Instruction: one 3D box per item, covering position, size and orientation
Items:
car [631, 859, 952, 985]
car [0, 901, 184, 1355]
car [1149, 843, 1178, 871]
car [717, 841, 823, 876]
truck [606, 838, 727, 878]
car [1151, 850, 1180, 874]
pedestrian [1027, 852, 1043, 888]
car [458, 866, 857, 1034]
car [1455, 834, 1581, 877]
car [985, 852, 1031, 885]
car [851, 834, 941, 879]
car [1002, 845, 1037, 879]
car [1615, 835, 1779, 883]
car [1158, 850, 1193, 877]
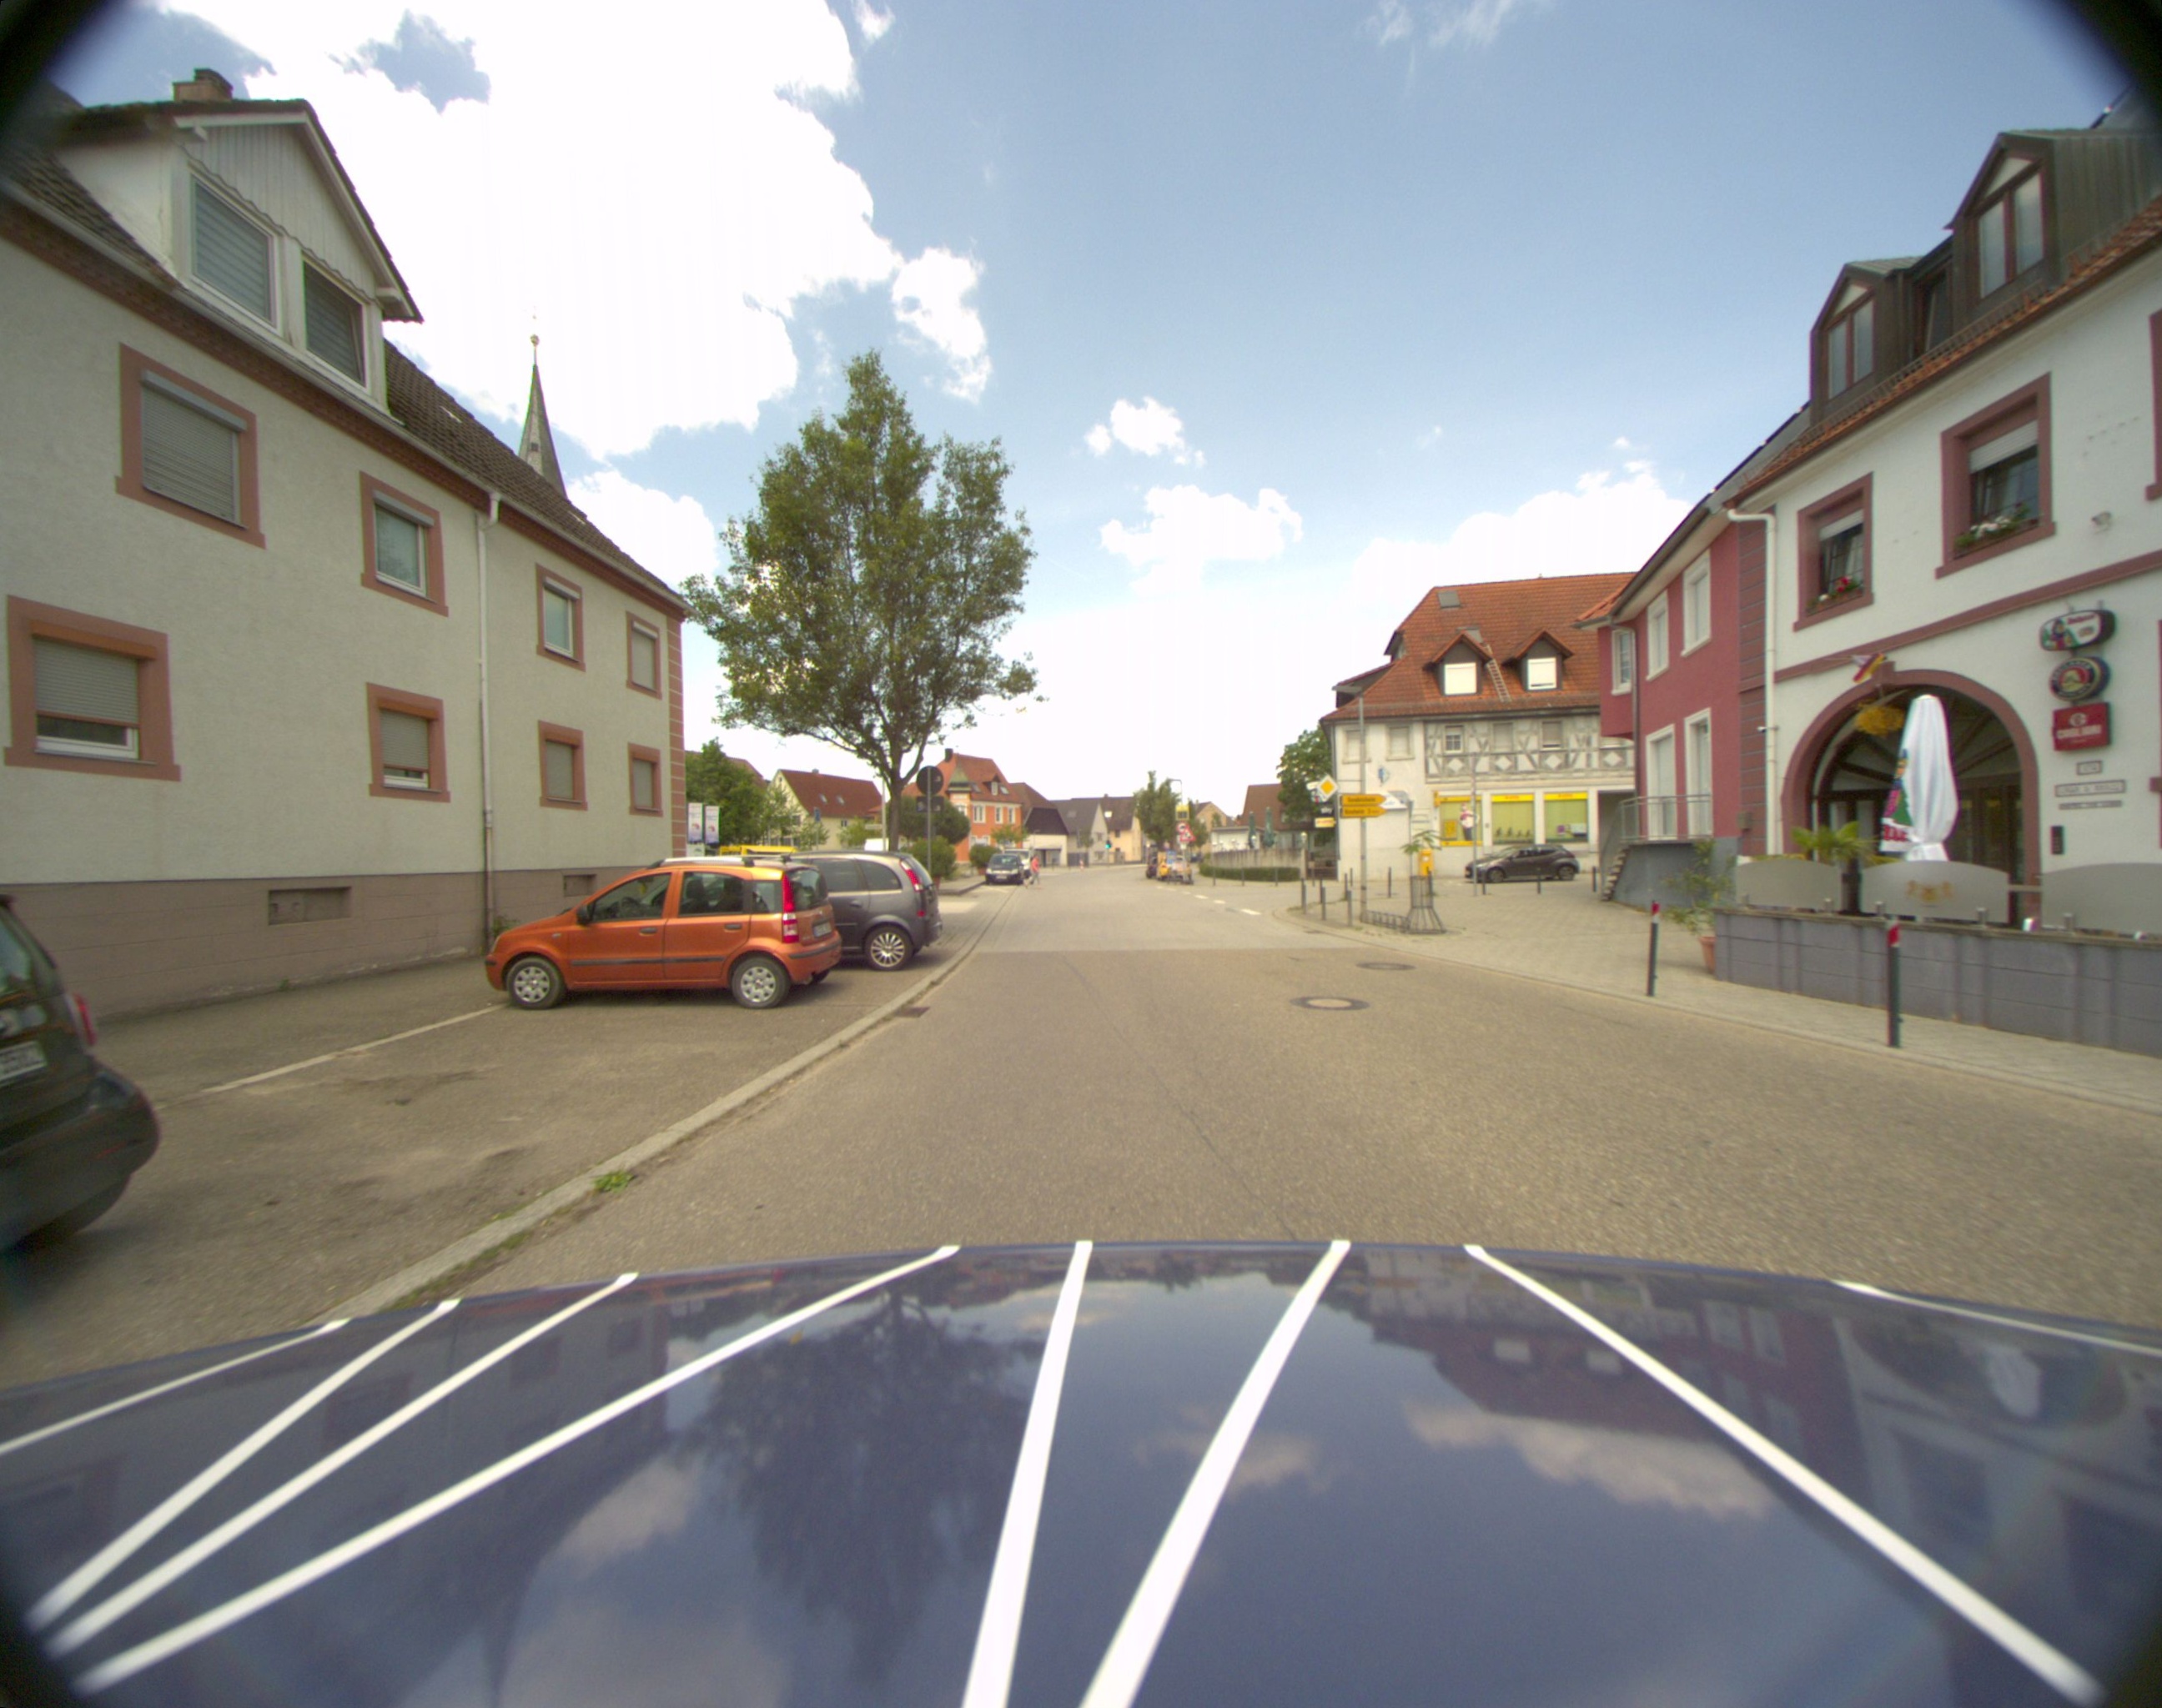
[{"bbox_3d":[-3.881,0.878,10.766,3.859,1.568,1.850,0,1,-4],"label":"car"},{"bbox_3d":[-4.956,0.990,1.983,2.791,1.496,1.874,-2,1,-24],"label":"car"},{"bbox_3d":[6.398,0.218,58.393,1.990,1.979,5.047,-2,0,8],"label":"car"},{"bbox_3d":[-23.733,0.313,58.300,6.978,2.463,2.646,-2,1,-44],"label":"car"},{"bbox_3d":[-28.004,0.252,51.422,6.813,2.483,2.960,-1,1,11],"label":"truck"},{"bbox_3d":[5.608,0.498,50.955,1.820,1.415,4.539,-2,0,5],"label":"car"},{"bbox_3d":[-2.112,0.720,34.846,0.640,1.619,0.620,-1,1,3],"label":"pedestrian"},{"bbox_3d":[-4.442,0.966,8.387,3.385,1.568,1.726,-1,1,0],"label":"car"},{"bbox_3d":[17.358,0.057,30.360,3.948,1.509,1.774,-2,1,10],"label":"car"},{"bbox_3d":[-3.659,0.689,38.778,1.773,1.555,4.418,1,1,2],"label":"car"},{"bbox_3d":[-12.811,0.082,53.371,2.756,2.946,7.121,-1,1,17],"label":"car"},{"bbox_3d":[-4.090,0.487,51.419,1.947,2.165,5.100,0,1,0],"label":"car"},{"bbox_3d":[20.261,0.152,25.108,3.883,1.404,1.784,-2,1,3],"label":"car"},{"bbox_3d":[5.481,0.511,44.420,1.672,1.466,3.963,-1,0,2],"label":"car"}]
